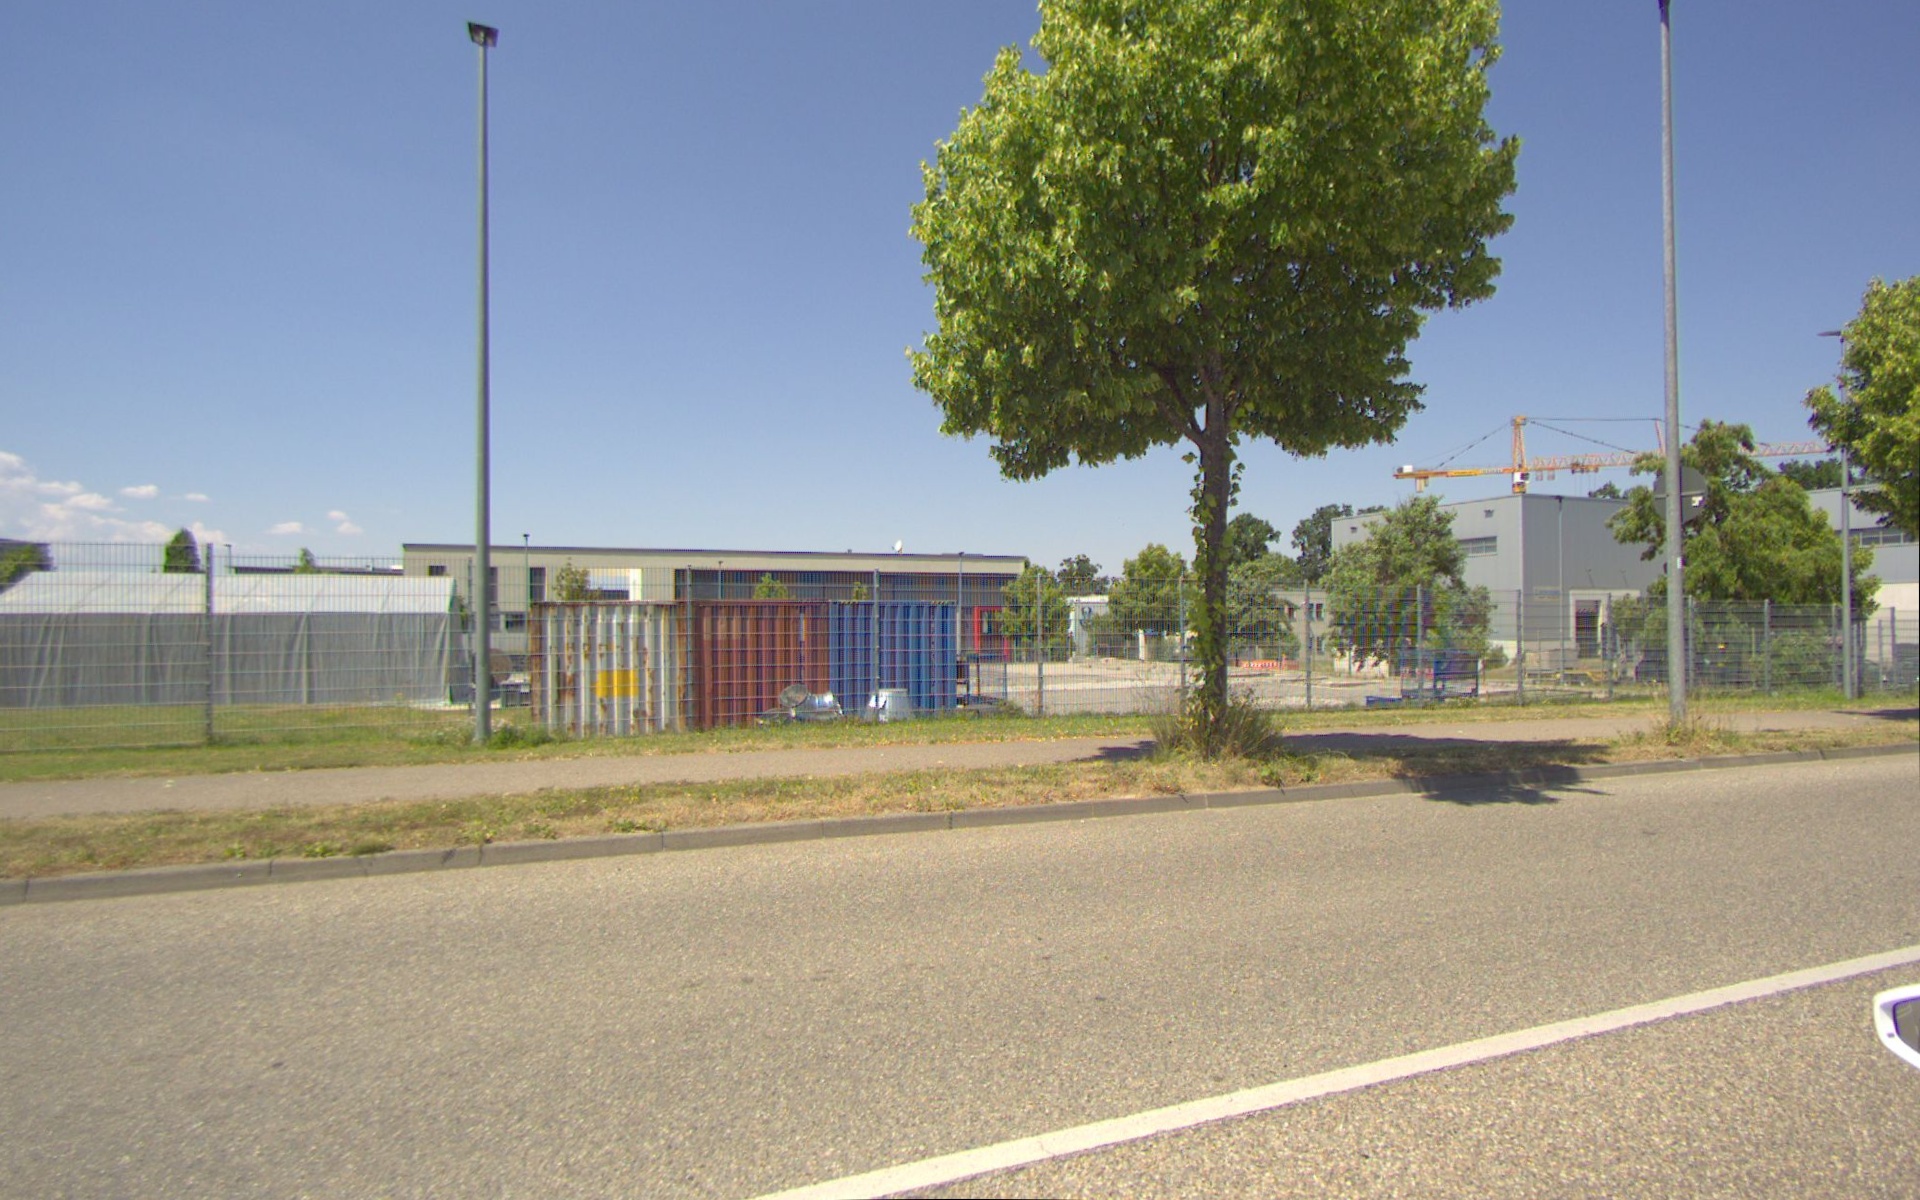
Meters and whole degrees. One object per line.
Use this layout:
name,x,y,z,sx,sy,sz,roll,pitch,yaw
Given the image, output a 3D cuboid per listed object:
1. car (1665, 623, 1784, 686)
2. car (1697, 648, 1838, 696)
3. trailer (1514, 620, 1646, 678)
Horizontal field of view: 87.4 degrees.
car,36.417,2.535,47.801,5.718,2.768,1.988,0,-2,-25
car,30.665,2.692,38.332,1.833,1.655,4.602,2,-3,3
trailer,33.743,2.698,54.828,2.630,2.894,5.485,-1,-3,-26
